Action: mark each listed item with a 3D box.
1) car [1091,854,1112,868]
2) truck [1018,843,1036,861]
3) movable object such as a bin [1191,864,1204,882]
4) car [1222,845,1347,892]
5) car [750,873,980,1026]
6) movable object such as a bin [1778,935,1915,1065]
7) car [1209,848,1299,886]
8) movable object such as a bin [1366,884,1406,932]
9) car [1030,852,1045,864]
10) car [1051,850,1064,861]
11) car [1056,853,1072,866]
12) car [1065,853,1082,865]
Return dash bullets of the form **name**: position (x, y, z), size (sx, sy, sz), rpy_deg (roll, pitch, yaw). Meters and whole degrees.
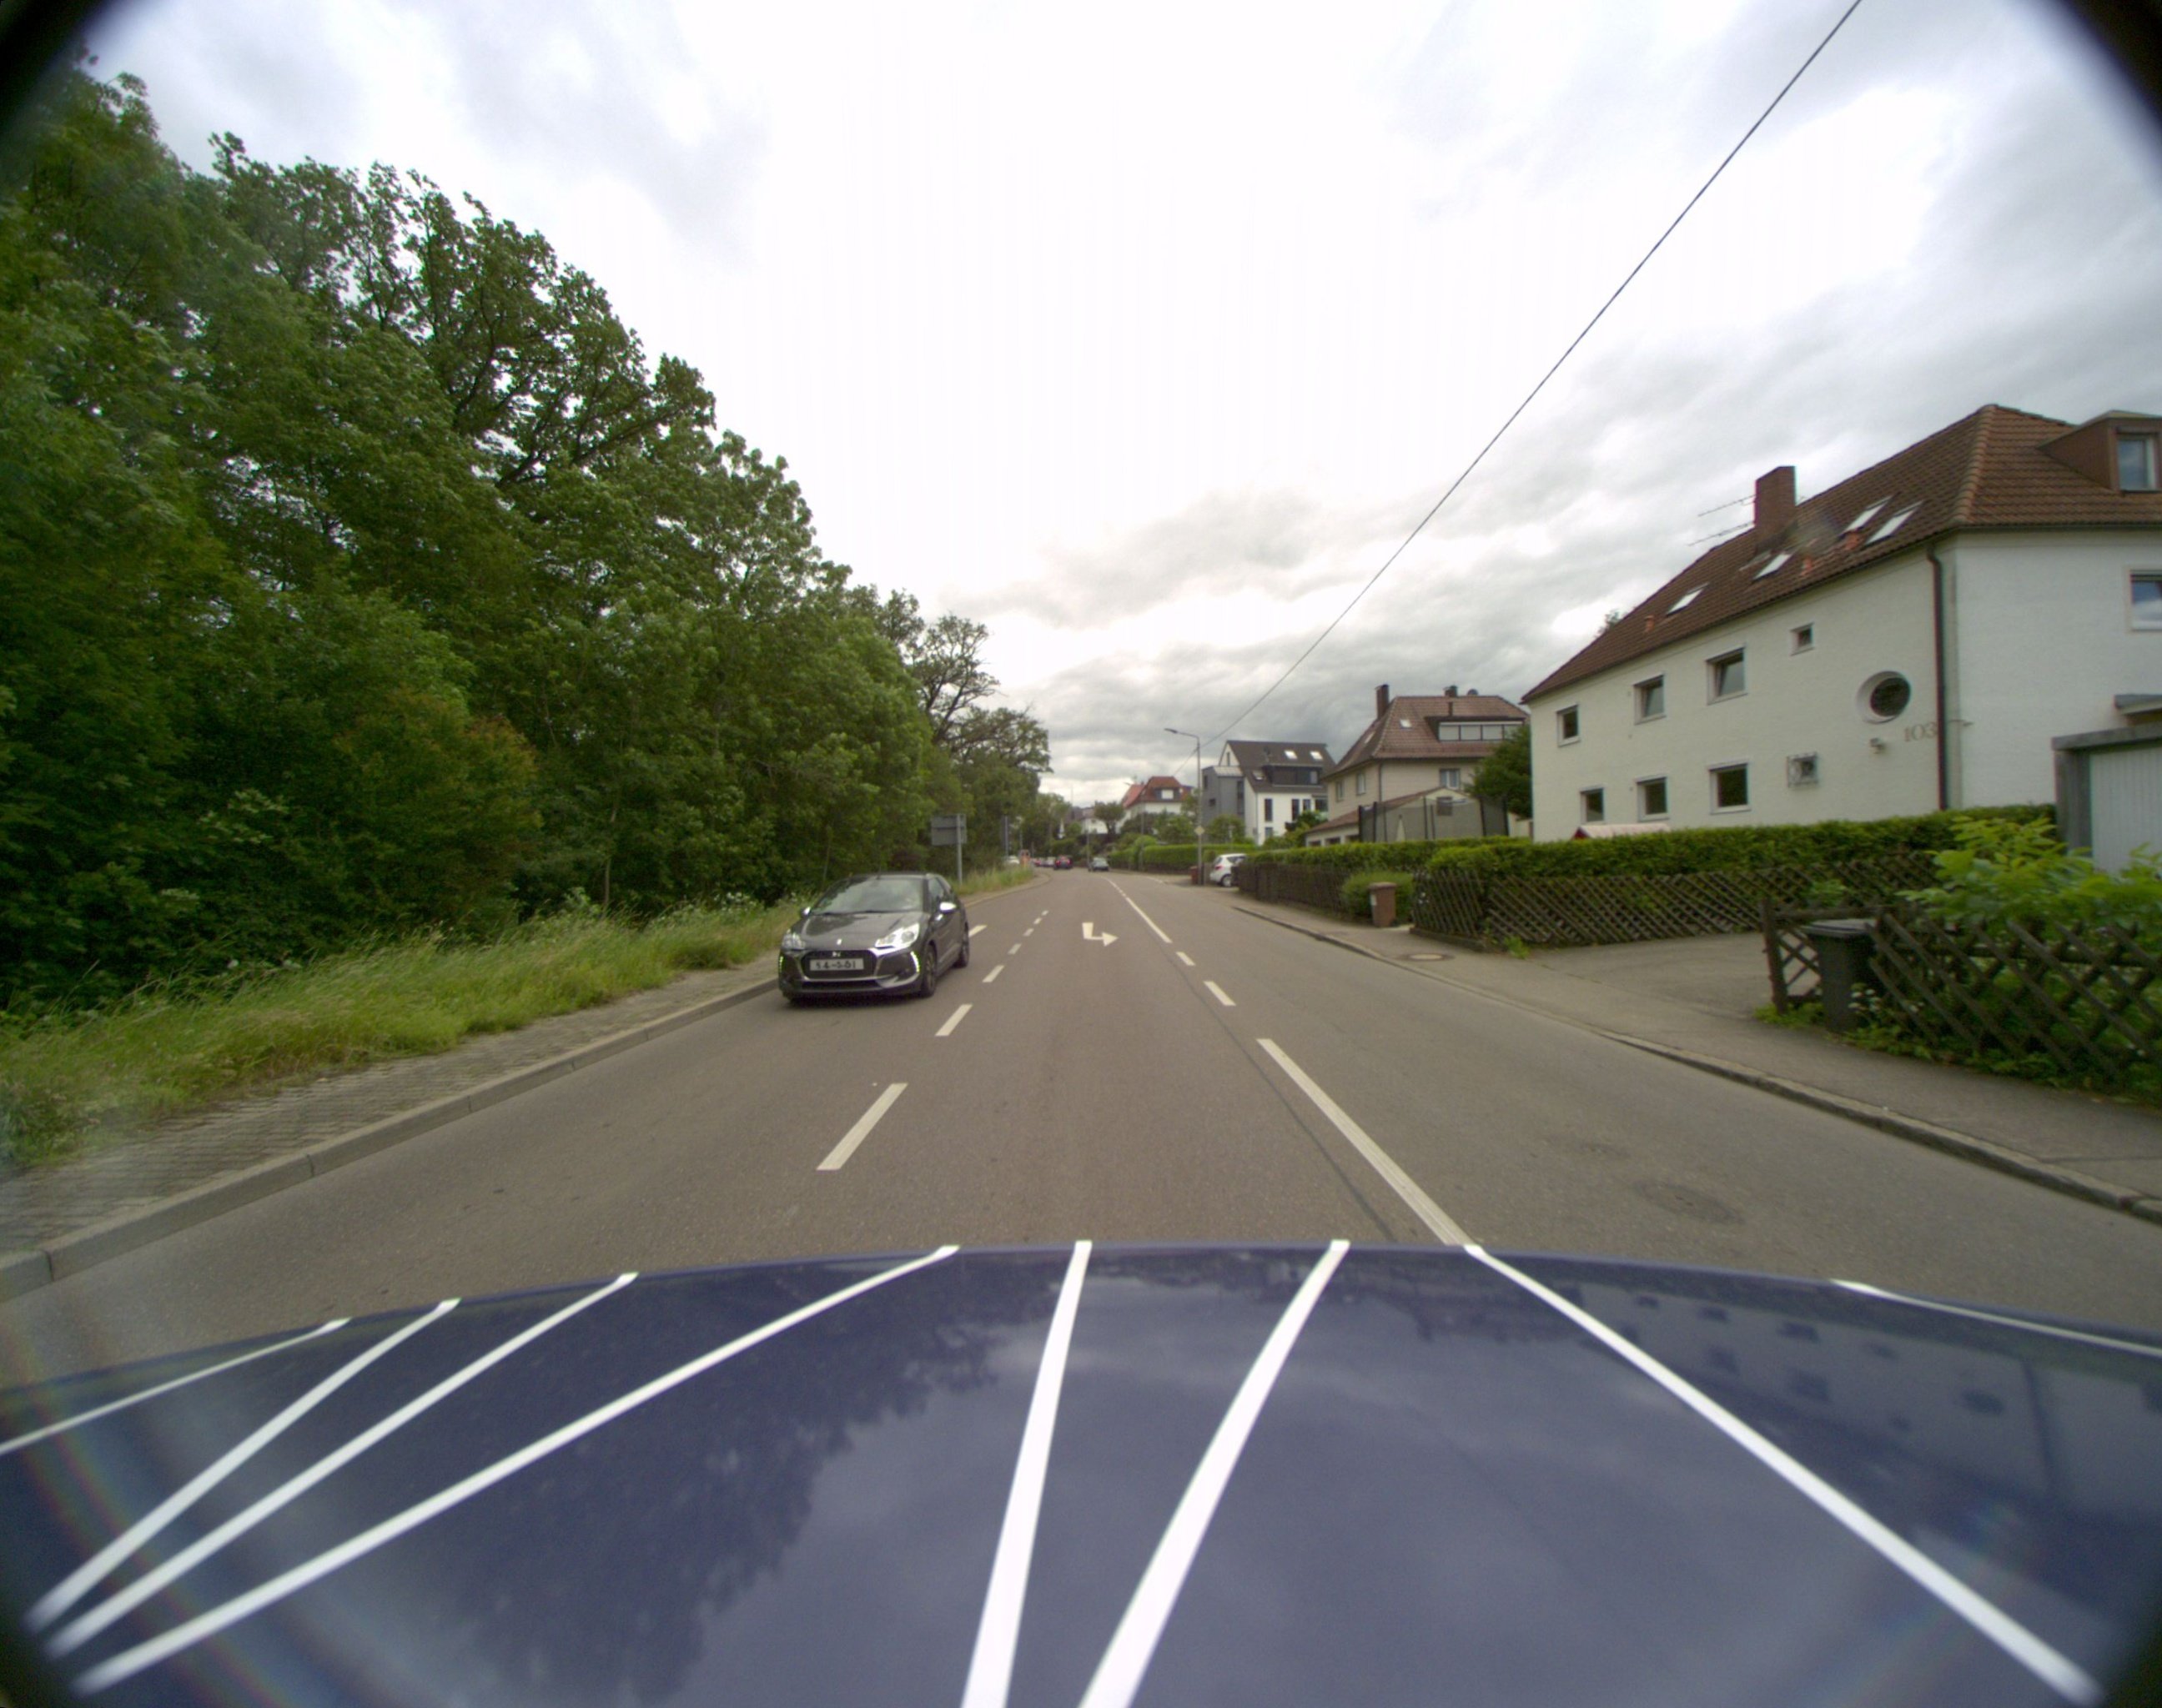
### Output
- **car**: position (2.204, 0.749, 83.199), size (1.840, 1.514, 3.998), rpy_deg (-1, 0, -5)
- **truck**: position (-11.082, -0.357, 154.584), size (3.008, 3.618, 7.083), rpy_deg (-1, 0, -8)
- **movable object such as a bin**: position (6.230, 1.033, 40.671), size (0.689, 0.948, 0.572), rpy_deg (-1, 1, 10)
- **car**: position (8.529, 0.586, 32.109), size (4.682, 1.660, 1.882), rpy_deg (-3, 0, -1)
- **car**: position (-2.536, 1.056, 9.939), size (1.730, 1.449, 3.855), rpy_deg (-2, 0, 2)
- **movable object such as a bin**: position (6.067, 1.141, 6.045), size (0.551, 0.933, 0.537), rpy_deg (-1, 1, 2)
- **car**: position (8.501, 0.619, 37.568), size (3.997, 1.584, 1.718), rpy_deg (-3, 1, 1)
- **movable object such as a bin**: position (6.225, 1.097, 15.519), size (0.634, 0.907, 0.561), rpy_deg (-2, 0, 11)
- **car**: position (-7.133, 0.647, 123.359), size (2.000, 1.749, 3.997), rpy_deg (-1, 0, -9)
- **car**: position (-3.738, 0.237, 120.431), size (1.833, 1.665, 3.997), rpy_deg (-1, 1, -5)
- **car**: position (-2.178, 0.660, 97.755), size (1.818, 1.590, 3.955), rpy_deg (-1, 0, -4)
- **car**: position (-1.107, 0.726, 107.086), size (1.876, 1.569, 3.997), rpy_deg (-1, 0, -8)
